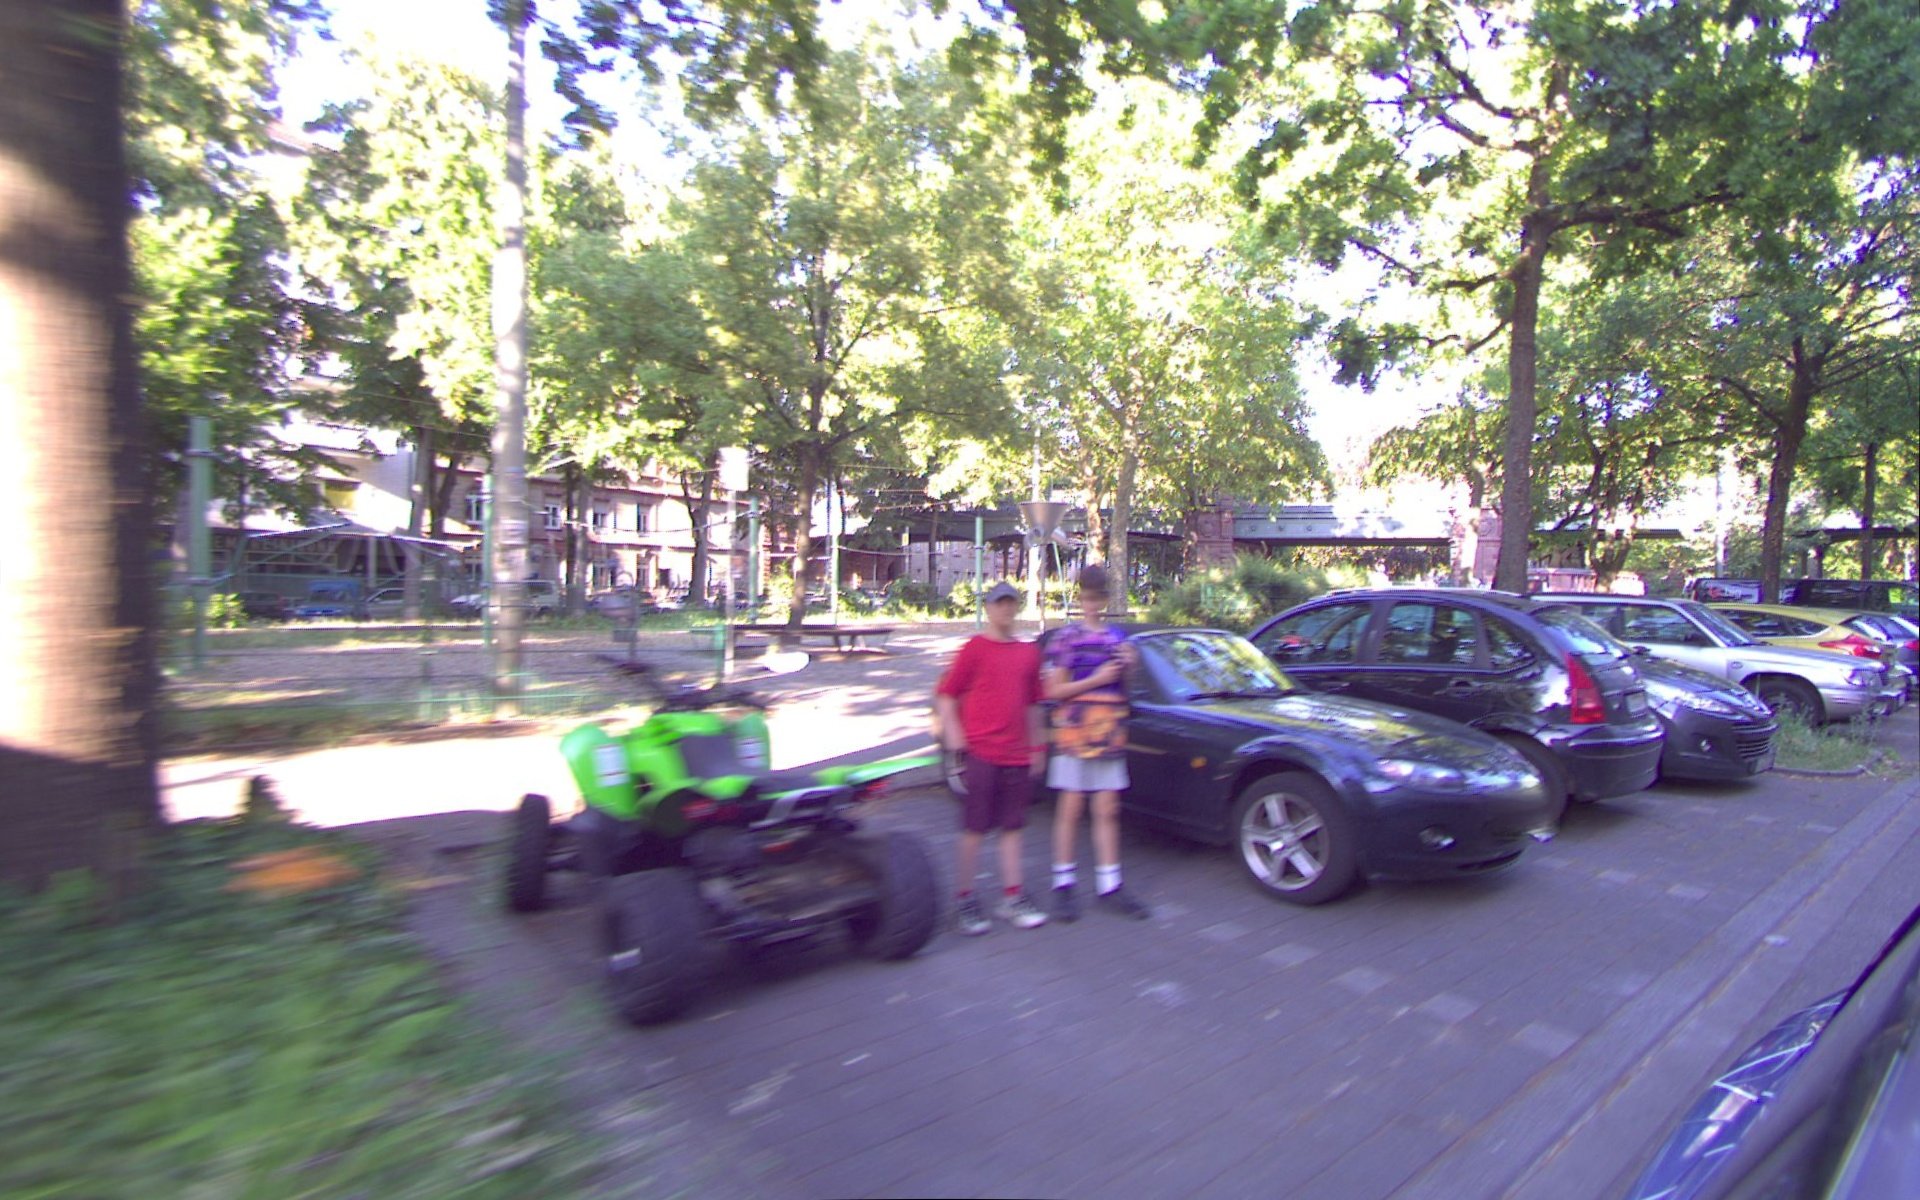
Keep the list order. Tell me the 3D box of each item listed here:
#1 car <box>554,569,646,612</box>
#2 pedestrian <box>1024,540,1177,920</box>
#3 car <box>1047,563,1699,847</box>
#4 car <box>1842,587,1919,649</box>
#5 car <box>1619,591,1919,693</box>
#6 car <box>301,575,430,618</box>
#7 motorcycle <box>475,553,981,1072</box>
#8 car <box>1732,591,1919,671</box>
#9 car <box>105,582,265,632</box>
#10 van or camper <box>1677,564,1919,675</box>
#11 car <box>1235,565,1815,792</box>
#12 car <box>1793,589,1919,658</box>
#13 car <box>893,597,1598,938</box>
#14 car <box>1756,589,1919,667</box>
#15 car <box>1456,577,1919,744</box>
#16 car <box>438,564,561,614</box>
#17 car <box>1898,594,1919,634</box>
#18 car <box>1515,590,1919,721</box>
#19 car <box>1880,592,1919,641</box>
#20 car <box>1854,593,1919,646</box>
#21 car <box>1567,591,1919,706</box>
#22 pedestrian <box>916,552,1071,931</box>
[{"bbox_3d":[-17.696,-0.499,49.877,1.982,2.039,3.960,-1,1,29],"label":"car"},{"bbox_3d":[0.627,0.558,4.553,0.508,1.605,0.382,2,-1,-21],"label":"pedestrian"},{"bbox_3d":[2.939,0.527,7.954,1.808,1.611,4.402,-1,2,-44],"label":"car"},{"bbox_3d":[27.383,0.514,28.361,1.635,1.666,3.791,-2,3,-39],"label":"car"},{"bbox_3d":[14.179,0.634,17.439,1.806,1.458,4.407,-1,2,-41],"label":"car"},{"bbox_3d":[-23.479,-0.181,40.133,1.982,1.571,3.960,-1,1,29],"label":"car"},{"bbox_3d":[-1.003,0.594,4.012,1.241,1.480,1.864,-2,1,-39],"label":"motorcycle"},{"bbox_3d":[19.434,0.622,21.642,1.807,1.519,4.405,-2,3,-42],"label":"car"},{"bbox_3d":[-26.704,0.215,35.000,1.982,1.571,3.960,-1,1,29],"label":"car"},{"bbox_3d":[17.897,0.344,20.256,1.992,2.053,5.429,1,1,-38],"label":"van or camper"},{"bbox_3d":[4.973,0.488,9.504,1.805,1.610,4.410,-1,2,-39],"label":"car"},{"bbox_3d":[23.874,0.575,25.319,1.633,1.596,4.415,-2,3,-35],"label":"car"},{"bbox_3d":[1.414,0.678,6.147,1.661,1.295,3.850,0,2,-41],"label":"car"},{"bbox_3d":[21.096,0.619,23.025,1.634,1.596,4.412,-2,3,-37],"label":"car"},{"bbox_3d":[8.700,0.553,12.357,1.805,1.610,4.408,-1,2,-40],"label":"car"},{"bbox_3d":[-20.303,-0.517,44.801,1.982,2.039,4.692,-1,1,29],"label":"car"},{"bbox_3d":[36.514,0.547,36.497,1.635,1.418,3.790,-2,3,-40],"label":"car"},{"bbox_3d":[10.579,0.636,14.335,1.804,1.458,4.412,-1,2,-37],"label":"car"},{"bbox_3d":[31.498,0.555,31.624,1.633,1.464,3.795,-2,3,-34],"label":"car"},{"bbox_3d":[29.288,0.592,30.120,1.634,1.491,3.793,-2,3,-37],"label":"car"},{"bbox_3d":[12.350,0.633,15.952,1.804,1.458,4.412,-1,2,-37],"label":"car"},{"bbox_3d":[0.138,0.580,4.377,0.508,1.536,0.382,2,-1,-21],"label":"pedestrian"}]
